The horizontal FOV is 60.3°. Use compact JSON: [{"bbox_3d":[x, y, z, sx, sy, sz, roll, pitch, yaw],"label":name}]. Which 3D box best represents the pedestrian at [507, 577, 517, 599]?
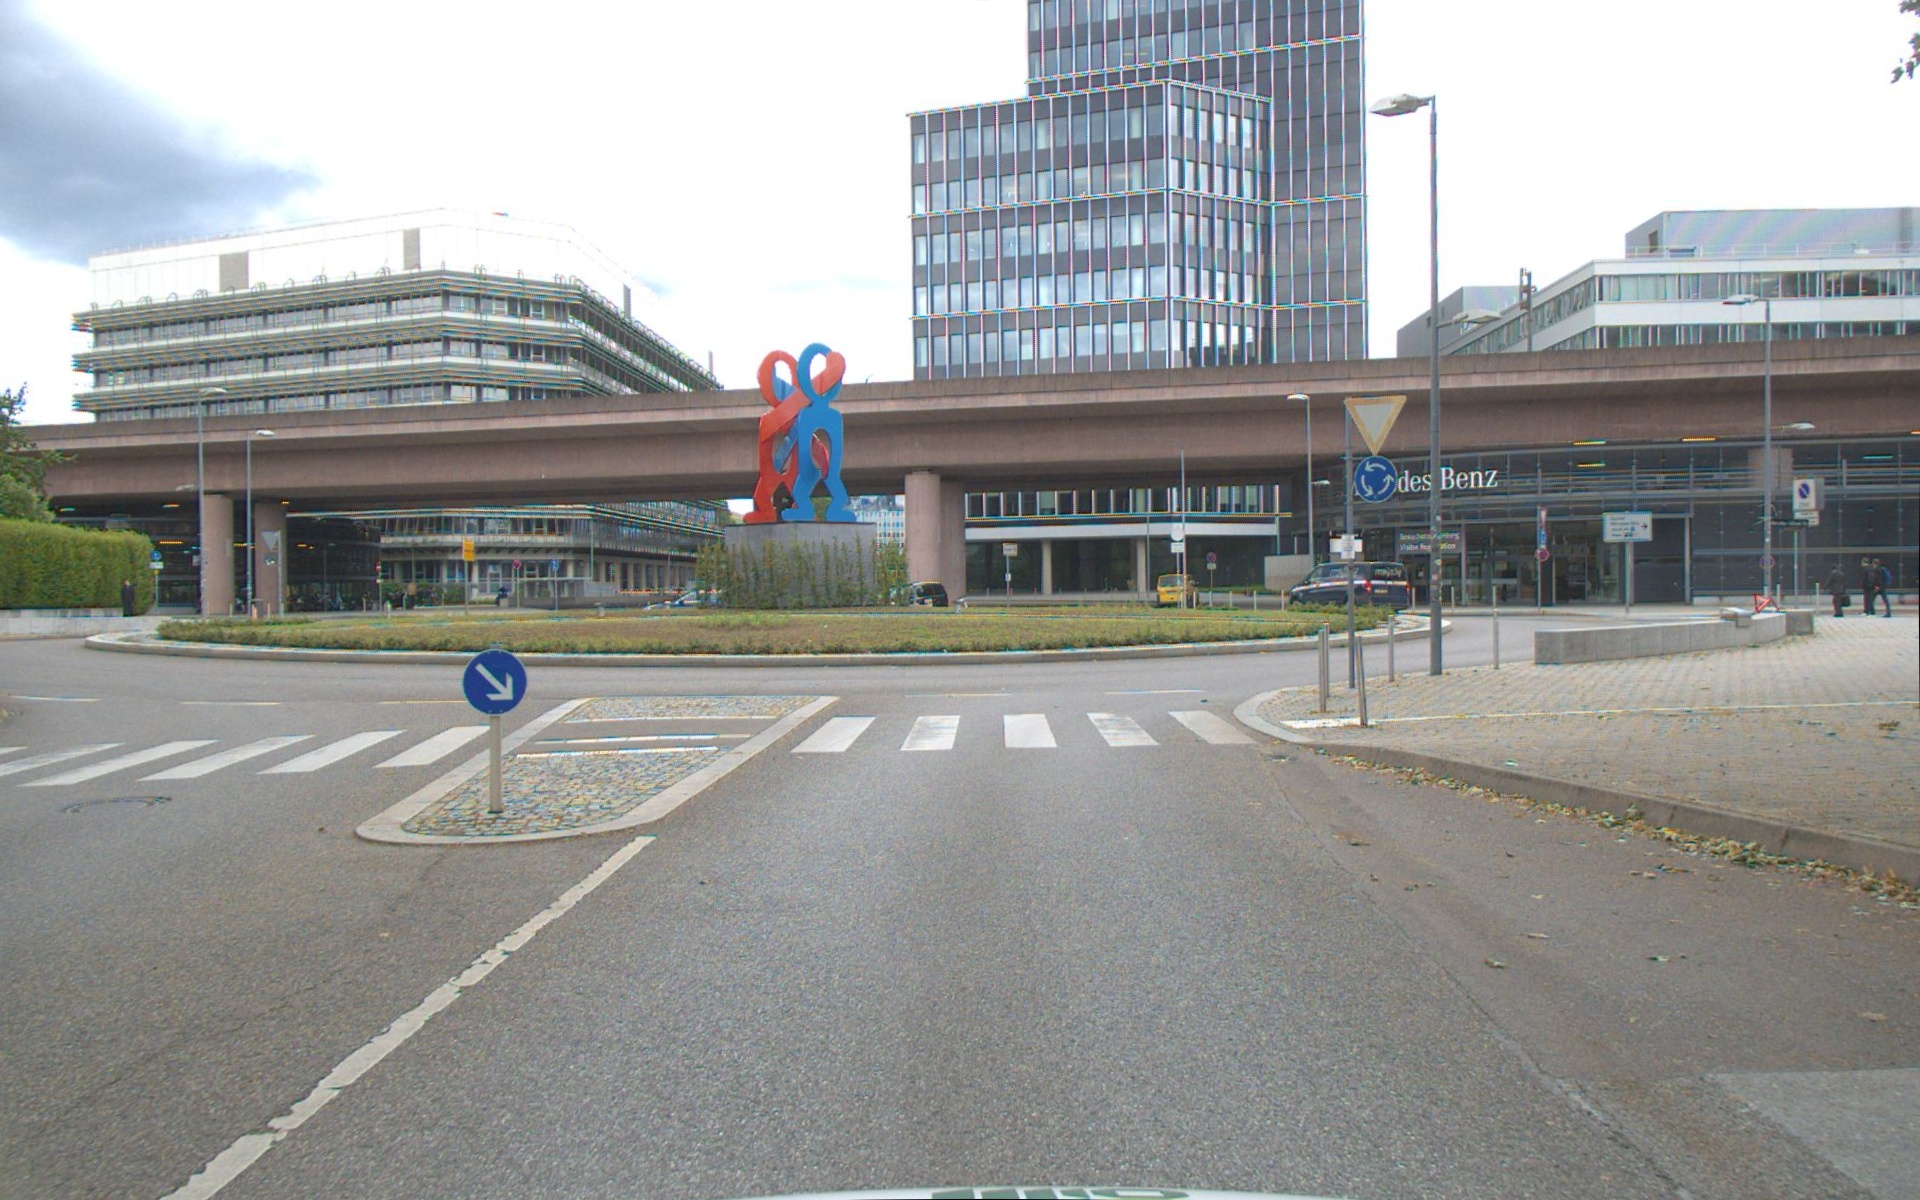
[{"bbox_3d":[-42.406,-1.151,156.531,0.760,2.049,0.670,-1,1,-2],"label":"pedestrian"}]

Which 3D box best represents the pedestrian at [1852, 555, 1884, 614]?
[{"bbox_3d":[27.757,-0.469,50.564,0.814,1.771,0.690,0,0,25],"label":"pedestrian"}]

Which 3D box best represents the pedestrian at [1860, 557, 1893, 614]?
[{"bbox_3d":[28.369,-0.448,51.194,0.814,1.771,0.690,0,0,21],"label":"pedestrian"}]

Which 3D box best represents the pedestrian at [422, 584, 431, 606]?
[{"bbox_3d":[-50.832,-0.487,157.664,0.766,2.049,0.665,0,0,-26],"label":"pedestrian"}]

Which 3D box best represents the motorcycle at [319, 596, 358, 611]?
[{"bbox_3d":[-45.317,0.239,120.596,2.597,1.132,1.040,0,0,19],"label":"motorcycle"}]

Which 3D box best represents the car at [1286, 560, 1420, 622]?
[{"bbox_3d":[13.541,-0.317,57.274,2.244,2.049,4.752,0,0,-22],"label":"car"}]

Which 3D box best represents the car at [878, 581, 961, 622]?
[{"bbox_3d":[-1.797,0.044,74.908,1.957,1.803,3.991,0,0,31],"label":"car"}]

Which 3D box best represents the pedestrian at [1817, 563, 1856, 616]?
[{"bbox_3d":[26.653,-0.329,50.306,0.814,1.597,0.690,0,0,1],"label":"pedestrian"}]

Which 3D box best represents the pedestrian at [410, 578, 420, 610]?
[{"bbox_3d":[-35.037,-0.371,106.378,0.578,2.049,0.597,0,0,-14],"label":"pedestrian"}]

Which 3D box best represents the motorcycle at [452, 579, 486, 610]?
[{"bbox_3d":[-20.542,-0.222,69.194,0.654,1.273,1.887,0,0,8],"label":"motorcycle"}]

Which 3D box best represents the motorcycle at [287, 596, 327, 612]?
[{"bbox_3d":[-46.511,0.247,117.771,2.597,1.132,1.040,0,0,19],"label":"motorcycle"}]

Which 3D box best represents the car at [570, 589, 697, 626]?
[{"bbox_3d":[-13.287,0.292,67.569,4.819,1.486,1.999,0,0,-2],"label":"car"}]

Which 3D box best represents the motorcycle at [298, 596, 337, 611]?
[{"bbox_3d":[-46.227,0.243,119.038,2.597,1.132,1.040,0,0,19],"label":"motorcycle"}]

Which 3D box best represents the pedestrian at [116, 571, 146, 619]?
[{"bbox_3d":[-35.692,-0.228,71.232,1.025,2.049,0.597,0,0,-14],"label":"pedestrian"}]

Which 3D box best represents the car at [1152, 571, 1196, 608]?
[{"bbox_3d":[12.148,-0.595,93.644,1.951,2.049,4.003,0,0,15],"label":"car"}]

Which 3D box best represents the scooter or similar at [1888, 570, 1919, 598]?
[{"bbox_3d":[41.687,-0.702,72.987,1.204,1.215,0.356,0,0,13],"label":"scooter or similar"}]
